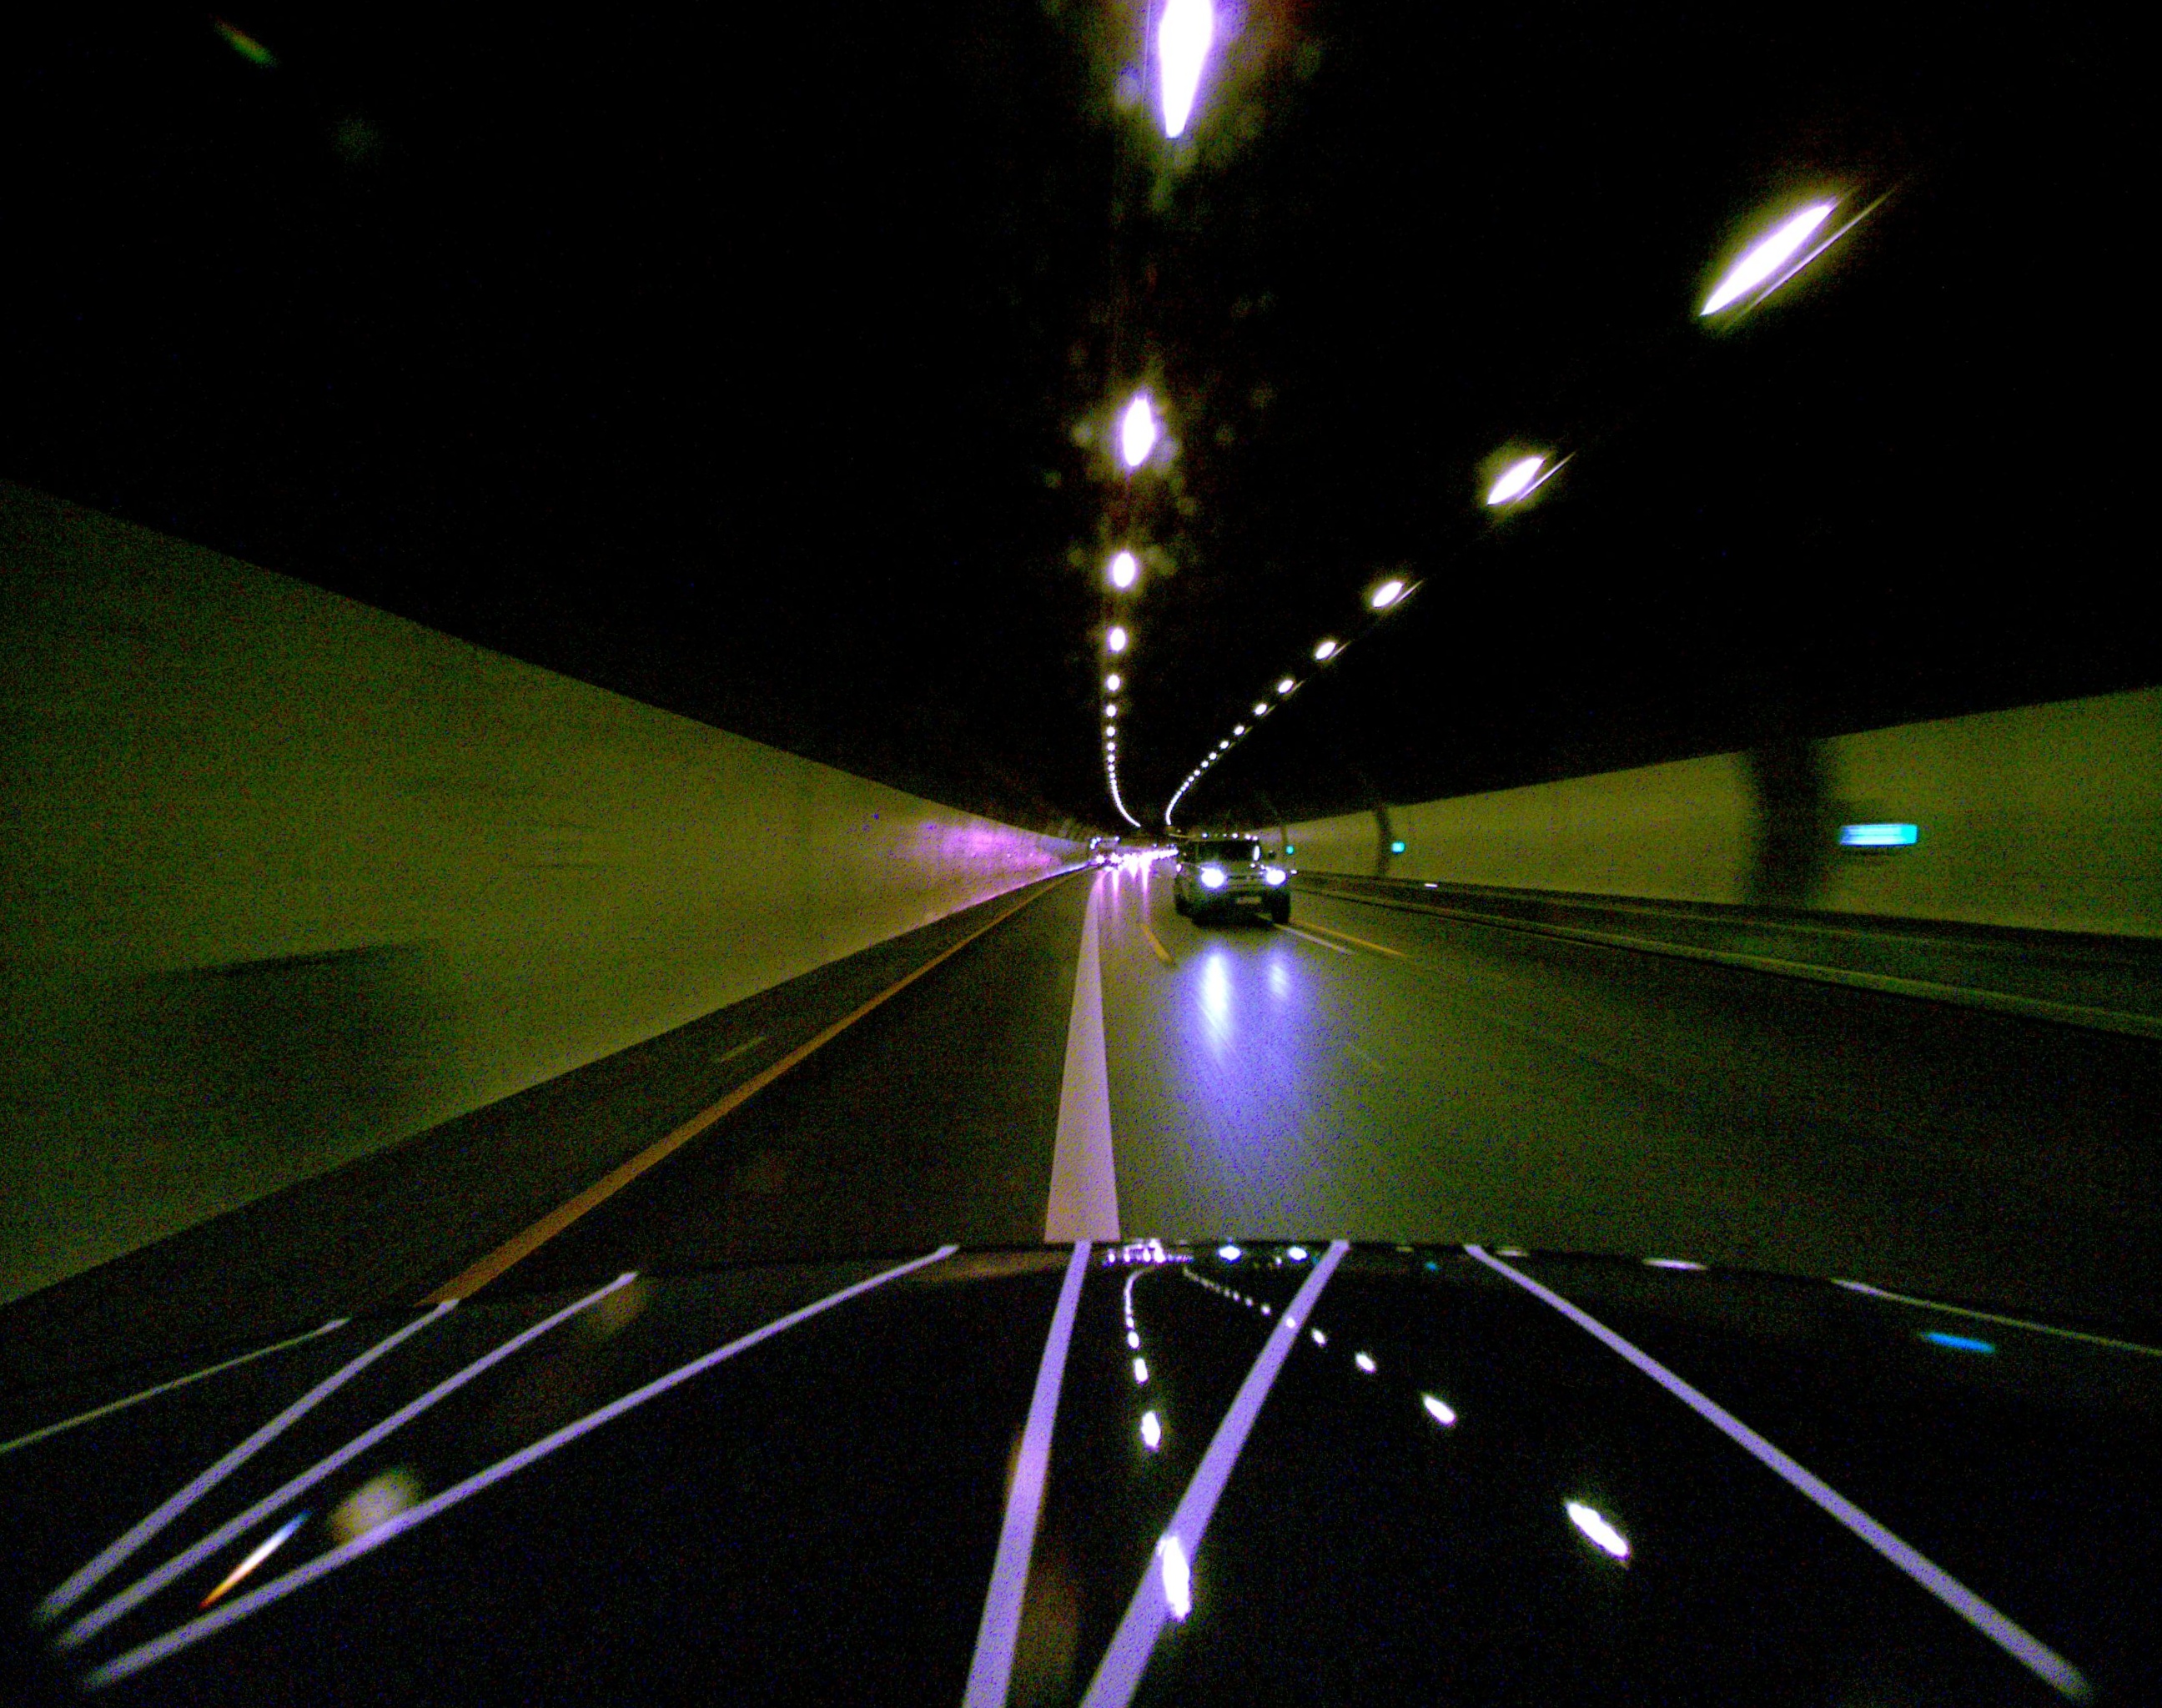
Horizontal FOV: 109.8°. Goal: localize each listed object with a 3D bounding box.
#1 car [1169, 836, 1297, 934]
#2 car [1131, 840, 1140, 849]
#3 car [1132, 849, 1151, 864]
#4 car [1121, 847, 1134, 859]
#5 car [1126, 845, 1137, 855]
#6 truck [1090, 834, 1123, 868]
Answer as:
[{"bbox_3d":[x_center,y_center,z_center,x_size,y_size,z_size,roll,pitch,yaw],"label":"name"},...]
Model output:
[{"bbox_3d":[3.313,0.587,17.720,1.998,1.884,5.453,-2,1,2],"label":"car"},{"bbox_3d":[12.529,-2.139,174.948,1.998,1.917,4.385,-3,0,3],"label":"car"},{"bbox_3d":[7.413,0.258,93.431,2.171,1.709,4.482,-3,0,5],"label":"car"},{"bbox_3d":[7.814,-0.179,127.852,1.998,2.002,4.000,-3,0,3],"label":"car"},{"bbox_3d":[10.363,-0.875,155.640,1.997,2.002,4.002,-3,0,8],"label":"car"},{"bbox_3d":[2.780,-0.344,79.801,2.988,3.161,10.509,-3,0,3],"label":"truck"}]
